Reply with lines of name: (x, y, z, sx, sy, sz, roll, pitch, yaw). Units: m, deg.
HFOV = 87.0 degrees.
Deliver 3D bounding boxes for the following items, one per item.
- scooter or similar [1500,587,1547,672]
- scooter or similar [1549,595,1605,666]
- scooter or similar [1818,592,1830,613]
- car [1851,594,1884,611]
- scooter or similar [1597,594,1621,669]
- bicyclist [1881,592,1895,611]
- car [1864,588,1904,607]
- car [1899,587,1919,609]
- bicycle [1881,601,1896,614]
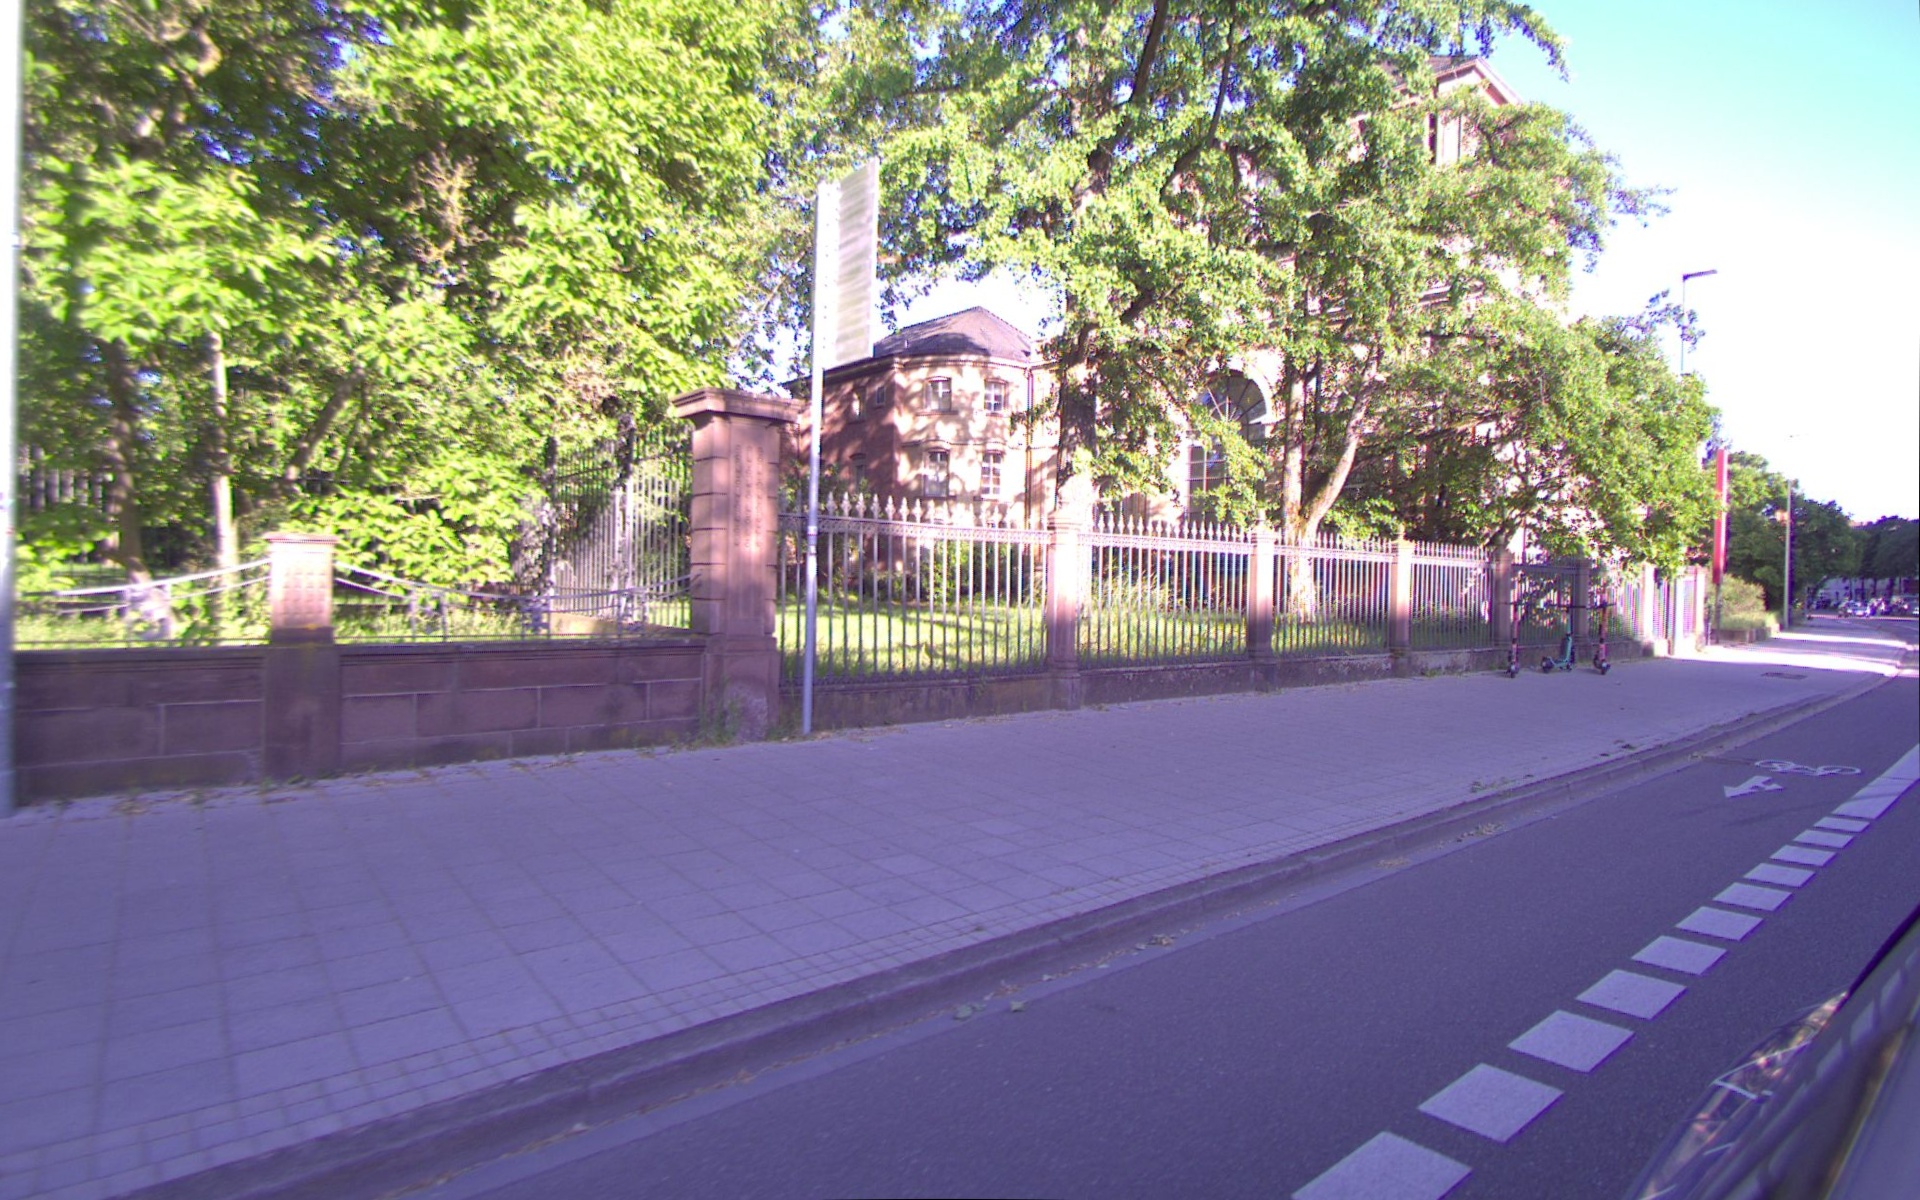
scooter or similar: (9.037, 0.441, 16.203, 0.545, 1.258, 1.540, 3, 2, 32)
scooter or similar: (10.555, 0.498, 17.307, 1.314, 1.136, 0.481, 0, 2, -44)
scooter or similar: (56.066, 0.134, 65.671, 0.555, 1.325, 1.805, 2, 1, 41)
car: (79.783, 0.185, 89.031, 1.545, 1.311, 3.594, 6, 4, 34)
scooter or similar: (11.331, 0.529, 17.661, 0.295, 1.255, 1.147, 3, 2, 33)
bicyclist: (84.944, 0.129, 92.601, 0.801, 1.628, 0.814, 2, 1, 36)
car: (92.302, -0.289, 101.160, 1.982, 1.771, 4.695, 2, 2, 31)
car: (87.766, -0.148, 92.419, 2.060, 1.939, 4.975, 2, 2, 33)
bicycle: (84.847, 0.685, 92.486, 0.826, 1.157, 1.944, 1, 1, 36)
